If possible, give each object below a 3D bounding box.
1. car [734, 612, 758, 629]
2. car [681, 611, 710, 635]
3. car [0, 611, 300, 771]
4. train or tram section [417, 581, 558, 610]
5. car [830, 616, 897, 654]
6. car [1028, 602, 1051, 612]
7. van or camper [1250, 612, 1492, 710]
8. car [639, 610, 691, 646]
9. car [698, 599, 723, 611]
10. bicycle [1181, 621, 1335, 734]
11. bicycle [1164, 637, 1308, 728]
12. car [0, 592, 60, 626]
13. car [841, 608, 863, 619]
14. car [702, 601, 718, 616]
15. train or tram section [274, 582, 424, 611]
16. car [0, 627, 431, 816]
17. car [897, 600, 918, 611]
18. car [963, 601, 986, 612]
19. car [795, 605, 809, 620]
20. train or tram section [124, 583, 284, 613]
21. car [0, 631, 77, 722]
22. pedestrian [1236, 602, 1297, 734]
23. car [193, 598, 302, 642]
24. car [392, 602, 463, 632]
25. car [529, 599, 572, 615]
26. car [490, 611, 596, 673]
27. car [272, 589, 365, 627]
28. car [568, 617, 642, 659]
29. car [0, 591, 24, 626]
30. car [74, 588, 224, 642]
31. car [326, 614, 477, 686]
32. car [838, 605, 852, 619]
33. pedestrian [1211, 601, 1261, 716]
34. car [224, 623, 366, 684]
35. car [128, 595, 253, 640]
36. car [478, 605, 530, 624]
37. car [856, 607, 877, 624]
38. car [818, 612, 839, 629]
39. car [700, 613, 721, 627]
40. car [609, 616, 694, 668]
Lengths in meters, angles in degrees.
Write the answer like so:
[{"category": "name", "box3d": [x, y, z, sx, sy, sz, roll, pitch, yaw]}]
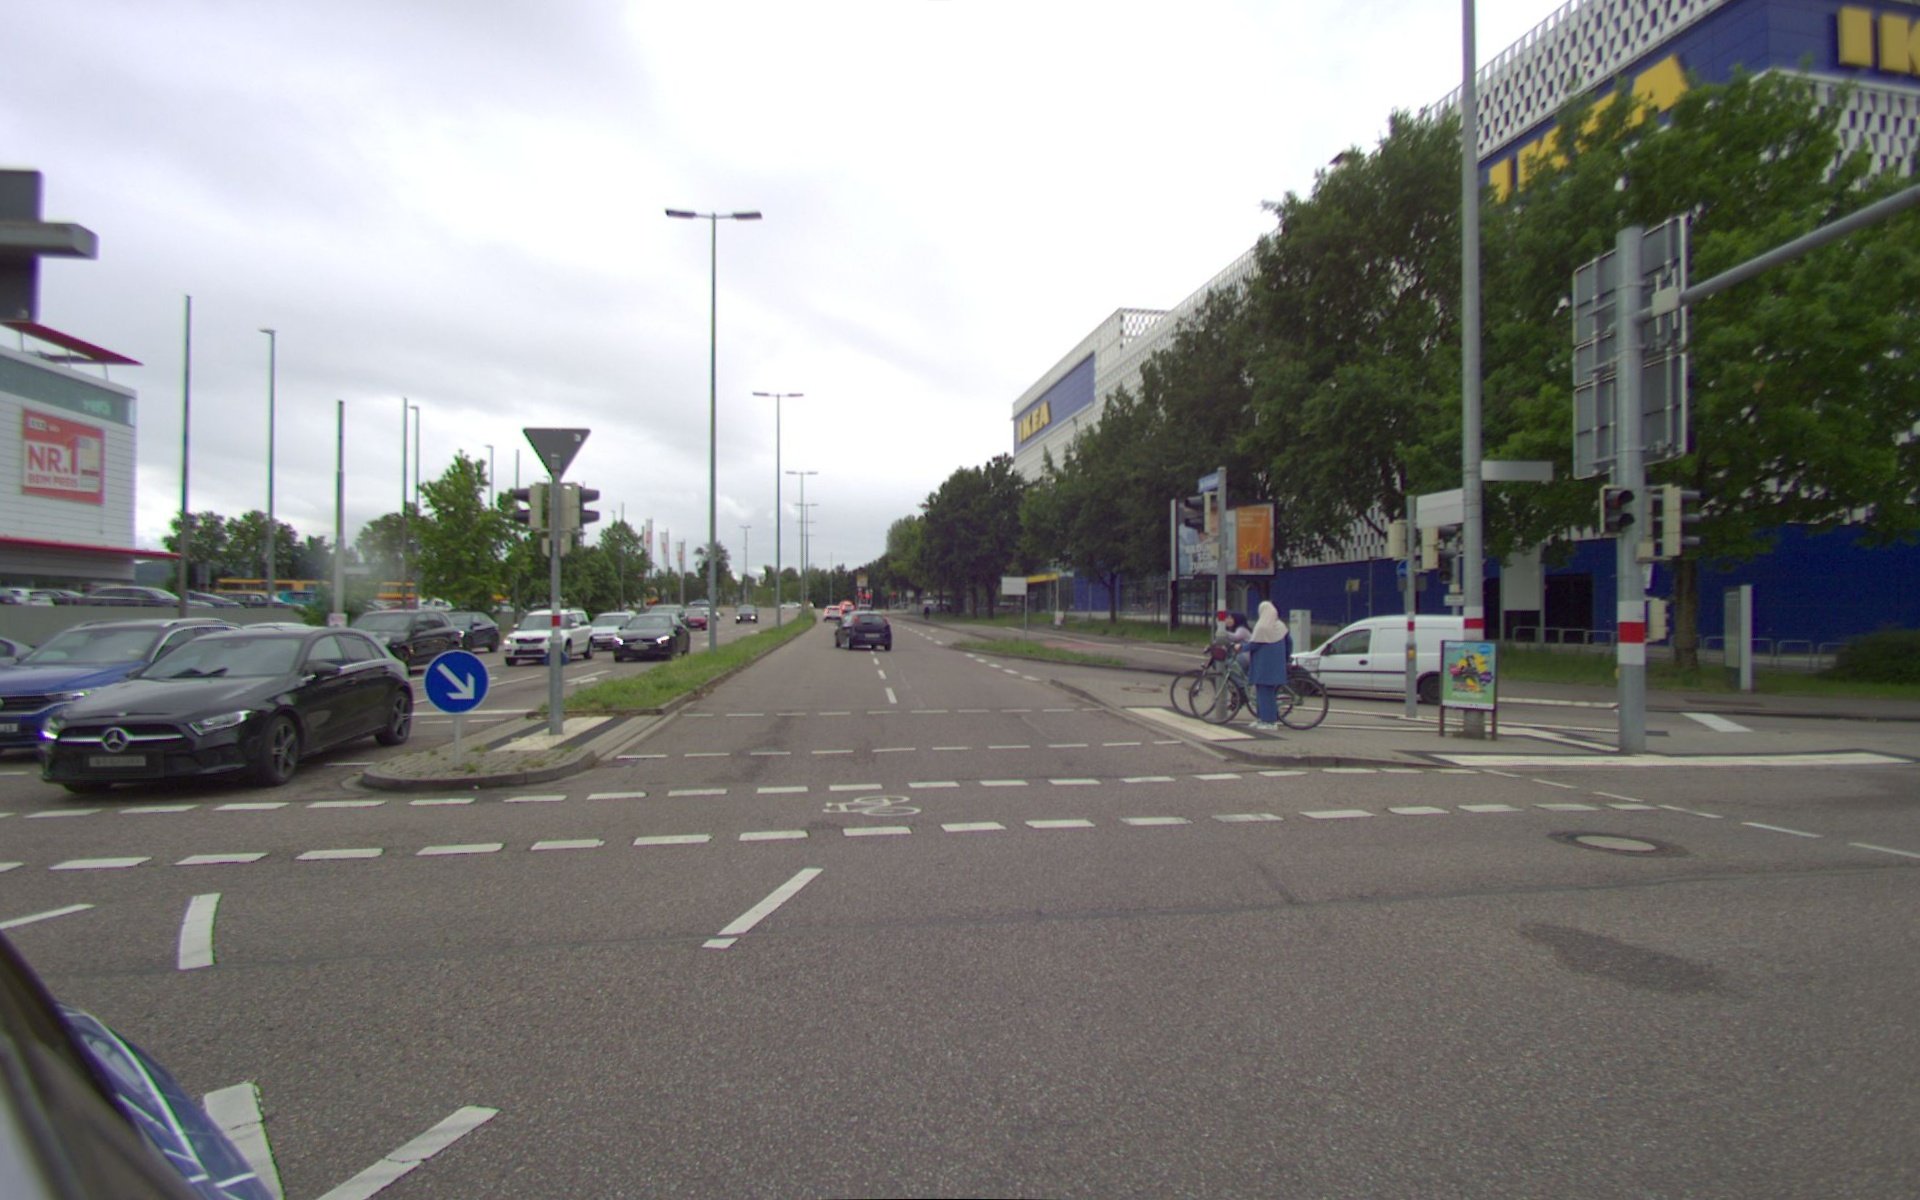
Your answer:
[{"category": "car", "box3d": [-19.836, 1.860, 94.074, 1.775, 1.426, 4.225, -2, 0, -7]}, {"category": "car", "box3d": [-17.781, 1.519, 68.021, 1.772, 1.426, 4.231, -2, 0, -15]}, {"category": "car", "box3d": [-10.619, 1.013, 12.966, 1.819, 1.634, 4.338, -2, 0, -6]}, {"category": "train or tram section", "box3d": [-84.668, -0.797, 181.939, 22.910, 4.875, 3.640, -1, 0, -10]}, {"category": "car", "box3d": [-3.774, 1.331, 39.017, 1.697, 1.382, 4.012, 1, -2, -18]}, {"category": "car", "box3d": [15.160, 1.361, 192.817, 3.933, 1.829, 2.005, -2, 0, -14]}, {"category": "van or camper", "box3d": [8.491, 1.195, 20.989, 4.379, 1.735, 1.979, 1, -2, 31]}, {"category": "car", "box3d": [-14.623, 1.355, 50.350, 1.775, 1.586, 4.225, -2, 0, -7]}, {"category": "car", "box3d": [-48.964, 0.982, 198.855, 4.597, 2.029, 2.004, -2, 0, -8]}, {"category": "bicycle", "box3d": [3.931, 0.997, 13.429, 1.918, 1.407, 0.593, 0, -2, 18]}, {"category": "bicycle", "box3d": [3.899, 1.149, 14.366, 1.931, 1.174, 0.505, 1, 1, 18]}, {"category": "car", "box3d": [-50.598, 0.508, 53.554, 3.936, 1.752, 2.004, -2, 0, -9]}, {"category": "car", "box3d": [-20.056, 2.417, 188.154, 3.863, 1.900, 1.852, -1, 2, -8]}, {"category": "car", "box3d": [-36.280, 1.253, 146.950, 1.968, 2.259, 4.008, 0, -1, -10]}, {"category": "train or tram section", "box3d": [-107.272, -0.628, 178.131, 22.910, 4.875, 3.640, -1, 0, -10]}, {"category": "car", "box3d": [-7.256, 1.042, 10.384, 1.831, 1.445, 4.202, -2, -1, -7]}, {"category": "car", "box3d": [-10.457, 1.042, 202.198, 3.936, 2.029, 2.004, -2, 0, -8]}, {"category": "car", "box3d": [2.426, 1.032, 167.788, 3.509, 1.652, 1.747, -2, 0, -10]}, {"category": "car", "box3d": [-23.434, 1.840, 149.716, 1.968, 2.236, 4.008, 0, -1, -10]}, {"category": "train or tram section", "box3d": [-129.907, -0.397, 174.337, 22.910, 4.875, 3.640, -1, 0, -10]}, {"category": "car", "box3d": [-16.377, 1.213, 14.920, 1.803, 1.422, 4.848, -2, -2, 18]}, {"category": "pedestrian", "box3d": [3.946, 0.855, 13.019, 0.687, 1.639, 0.636, 1, -1, 21]}, {"category": "car", "box3d": [-35.358, 0.961, 50.346, 3.936, 2.029, 2.004, -2, 0, -8]}, {"category": "car", "box3d": [-39.540, 1.251, 75.211, 4.258, 2.029, 2.004, -2, 0, -8]}, {"category": "car", "box3d": [-44.049, 0.742, 108.990, 3.938, 1.577, 1.799, -2, 0, -6]}, {"category": "car", "box3d": [-12.560, 1.216, 30.761, 1.772, 1.637, 4.380, -2, 0, -6]}, {"category": "car", "box3d": [-36.236, 0.448, 57.262, 3.936, 2.029, 2.004, -2, 0, -8]}, {"category": "car", "box3d": [-13.654, 1.425, 39.156, 1.775, 1.426, 4.225, -2, 0, -7]}, {"category": "car", "box3d": [-50.087, 0.476, 50.924, 3.936, 1.752, 2.004, -2, 0, -9]}, {"category": "car", "box3d": [-33.714, 0.601, 42.180, 4.459, 2.029, 2.004, -2, 0, -9]}, {"category": "car", "box3d": [-14.764, 1.261, 27.068, 1.773, 1.637, 4.377, -2, 0, -3]}, {"category": "car", "box3d": [-16.887, 1.762, 148.181, 1.819, 1.900, 3.932, -2, 0, -9]}, {"category": "pedestrian", "box3d": [3.925, 0.813, 14.364, 0.644, 1.560, 0.650, 1, 1, 17]}, {"category": "car", "box3d": [-17.735, 1.380, 27.219, 1.668, 1.382, 3.934, -2, 0, -9]}, {"category": "car", "box3d": [-34.234, 0.762, 45.130, 3.936, 1.862, 2.004, -2, 0, -9]}, {"category": "car", "box3d": [-41.267, 1.275, 91.680, 3.938, 1.577, 1.799, -2, 0, -6]}, {"category": "car", "box3d": [-9.830, 1.592, 106.278, 1.819, 1.668, 4.370, 2, 0, -9]}, {"category": "car", "box3d": [-12.133, 1.874, 93.683, 1.760, 1.463, 3.938, 1, -1, -5]}, {"category": "car", "box3d": [-28.082, 2.196, 113.866, 1.775, 1.426, 4.225, -2, 0, -7]}, {"category": "car", "box3d": [-9.485, 1.240, 31.409, 1.741, 1.389, 4.265, -2, 0, -7]}]
